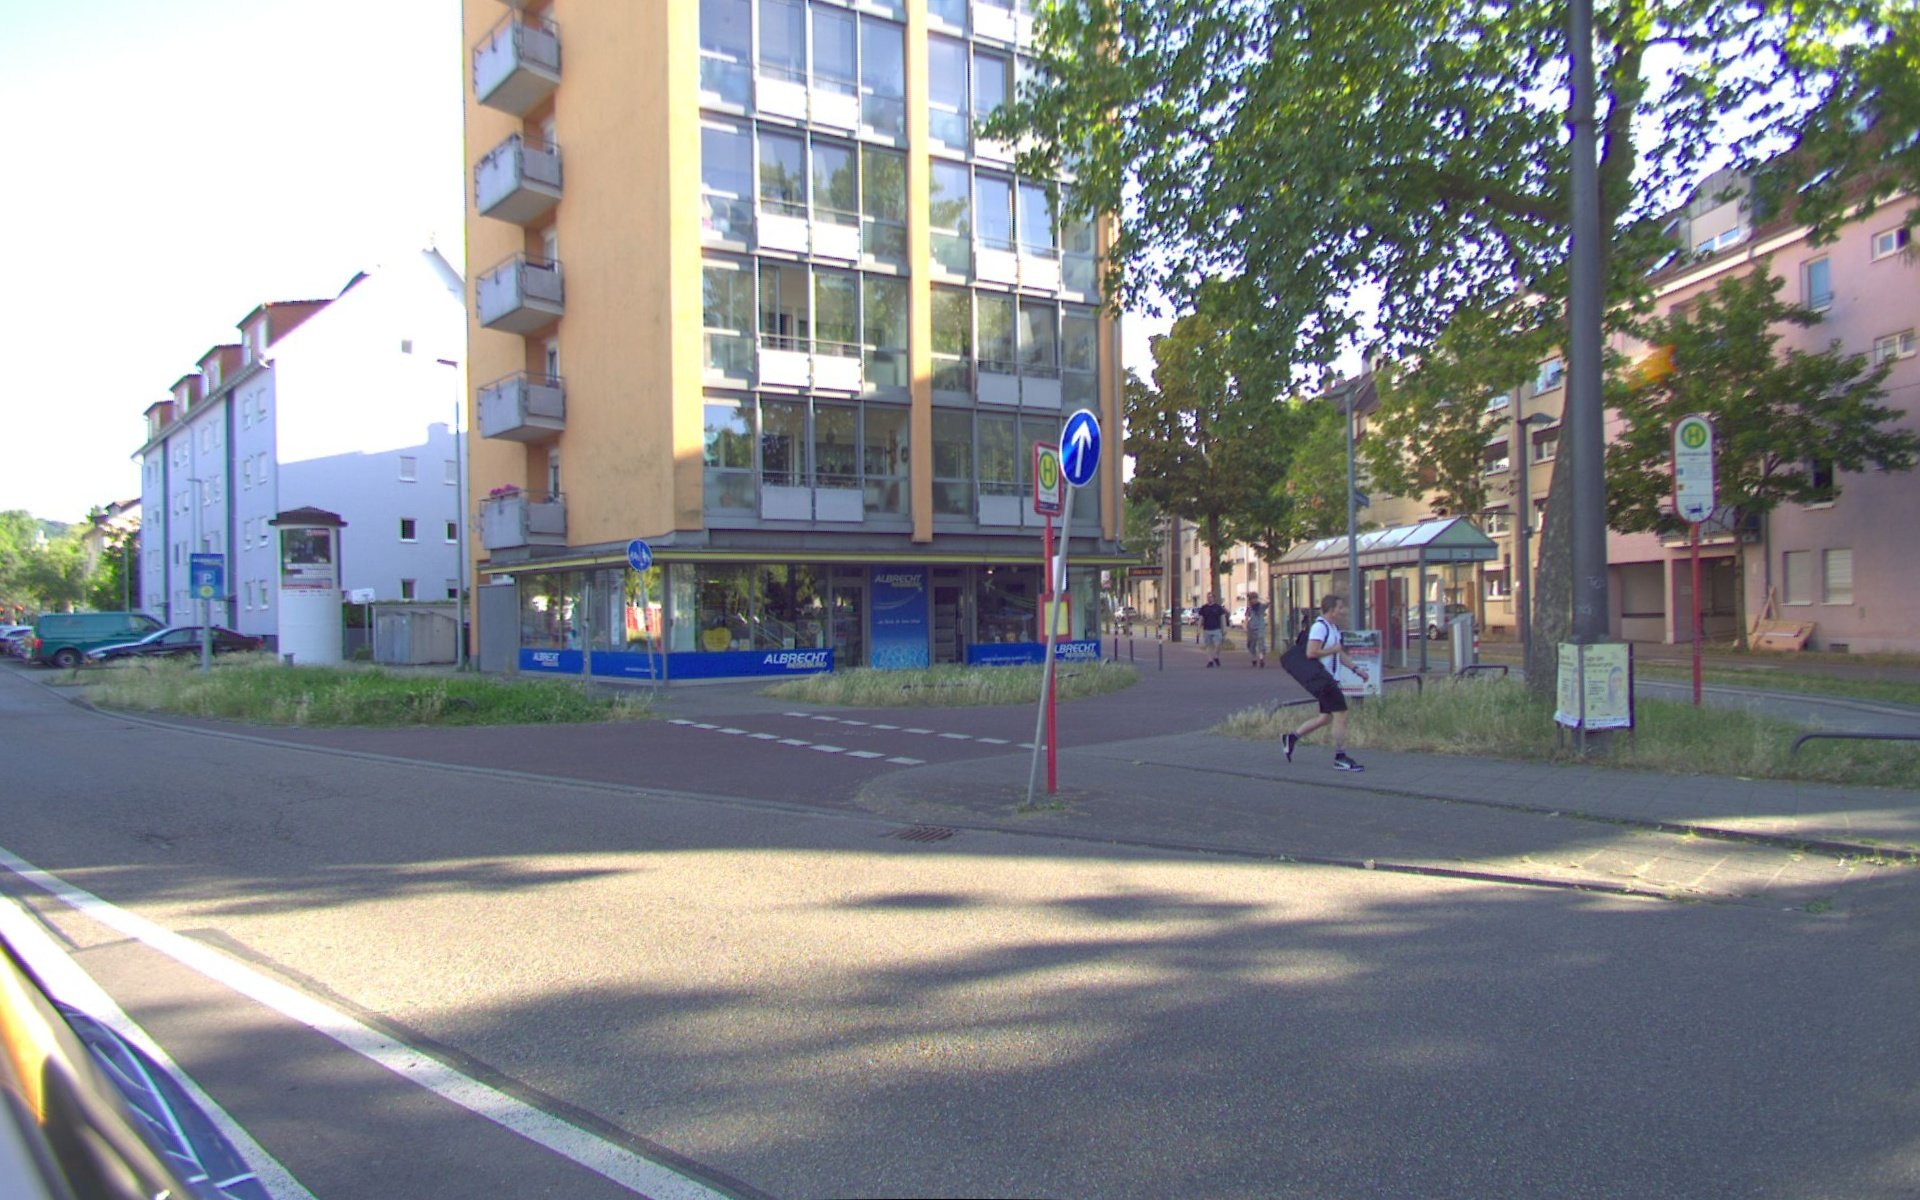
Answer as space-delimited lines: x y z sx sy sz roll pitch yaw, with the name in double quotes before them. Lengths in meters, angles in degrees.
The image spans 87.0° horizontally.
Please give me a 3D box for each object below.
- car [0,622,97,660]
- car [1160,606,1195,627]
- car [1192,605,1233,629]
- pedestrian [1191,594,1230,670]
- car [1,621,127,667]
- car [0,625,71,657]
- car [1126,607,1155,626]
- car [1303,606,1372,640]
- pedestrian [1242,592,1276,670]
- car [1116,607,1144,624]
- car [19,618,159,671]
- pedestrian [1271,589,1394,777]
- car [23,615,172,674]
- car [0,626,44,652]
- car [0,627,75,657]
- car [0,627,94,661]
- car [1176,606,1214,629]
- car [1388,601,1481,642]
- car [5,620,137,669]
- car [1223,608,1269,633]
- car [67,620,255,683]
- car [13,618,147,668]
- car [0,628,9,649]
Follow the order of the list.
"car" -46.123 2.030 50.863 4.061 1.785 1.758 -1 0 -44
"car" 18.422 1.376 85.803 1.830 1.719 4.170 -1 0 -3
"car" 18.696 1.250 75.159 1.808 1.719 4.059 -1 0 -3
"pedestrian" 5.921 0.746 23.940 0.803 1.763 0.538 -1 0 6
"car" -38.833 1.858 43.928 4.016 1.765 1.900 -1 0 -44
"car" -55.799 2.465 60.431 4.016 1.765 1.900 -1 0 -44
"car" 17.774 1.619 99.875 1.911 1.719 4.003 -1 0 -3
"car" 19.910 1.188 53.602 1.911 1.719 4.115 -1 0 -3
"pedestrian" 6.926 0.712 23.476 0.622 1.763 0.689 -1 0 6
"car" 17.726 1.618 105.513 1.911 1.719 4.372 -1 0 -3
"car" -33.126 1.641 38.529 3.941 1.829 2.001 -1 0 -44
"pedestrian" 3.672 0.778 10.042 1.080 1.750 0.897 -1 0 19
"car" -31.220 1.550 36.686 2.001 1.962 3.942 -1 0 44
"car" -63.503 2.596 66.990 4.199 1.585 1.867 -1 0 -44
"car" -55.666 2.495 60.378 4.199 1.585 1.867 -1 0 -44
"car" -48.126 2.267 52.954 4.199 1.585 1.867 -1 0 -44
"car" 18.634 1.335 80.348 1.771 1.719 4.170 -1 0 -3
"car" 20.740 0.895 44.434 1.911 1.719 4.115 -1 0 -3
"car" -36.863 1.800 42.010 4.003 1.829 1.938 -1 0 -44
"car" 19.164 1.331 68.054 1.741 1.588 4.049 -1 0 -3
"car" -24.277 1.502 30.864 4.361 1.674 2.003 -1 0 -41
"car" -35.125 1.667 40.432 3.941 1.829 2.001 -1 0 -44
"car" -74.767 2.980 76.958 3.490 1.585 1.867 -1 0 -44
